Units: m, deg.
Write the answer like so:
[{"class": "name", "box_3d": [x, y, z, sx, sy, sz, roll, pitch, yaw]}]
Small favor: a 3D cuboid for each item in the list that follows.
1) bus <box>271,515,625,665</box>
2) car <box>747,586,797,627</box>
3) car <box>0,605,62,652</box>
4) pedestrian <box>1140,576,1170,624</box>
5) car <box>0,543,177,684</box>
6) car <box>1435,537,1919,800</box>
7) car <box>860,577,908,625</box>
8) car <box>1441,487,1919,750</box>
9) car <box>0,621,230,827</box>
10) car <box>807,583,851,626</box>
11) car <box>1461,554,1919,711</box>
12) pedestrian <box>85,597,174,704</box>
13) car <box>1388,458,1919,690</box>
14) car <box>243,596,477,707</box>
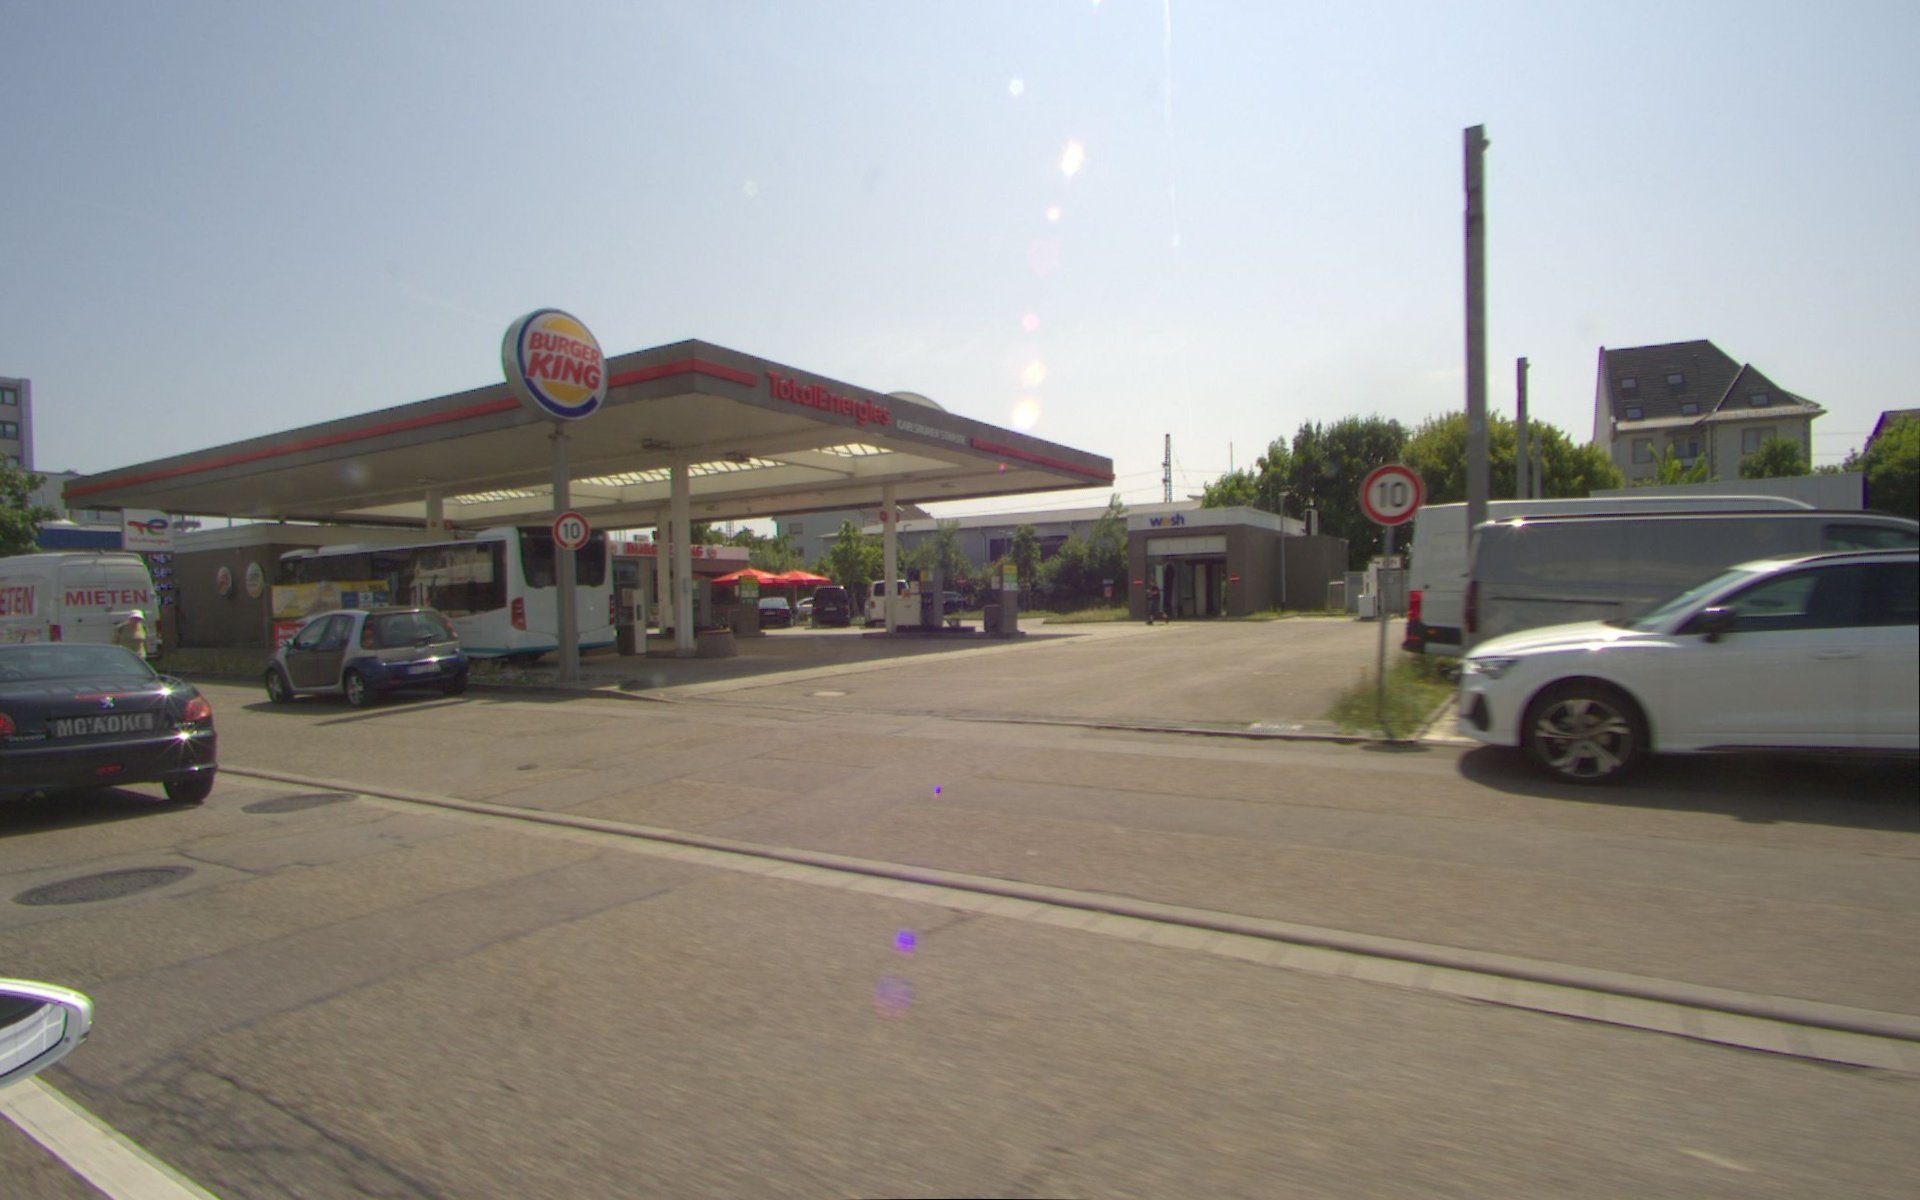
[{"class": "bus", "box_3d": [-13.454, -0.215, 25.499, 12.119, 3.120, 2.796, 0, 0, 36]}, {"class": "car", "box_3d": [-8.856, 0.356, 47.499, 1.961, 1.765, 4.001, -2, -2, -6]}, {"class": "car", "box_3d": [-33.628, 1.044, 35.352, 3.942, 1.530, 1.747, -3, -2, 31]}, {"class": "pedestrian", "box_3d": [7.151, 0.009, 36.718, 0.864, 1.674, 0.766, -3, -2, 29]}, {"class": "car", "box_3d": [-20.980, 0.285, 23.113, 7.204, 2.878, 2.128, -1, 2, 32]}, {"class": "car", "box_3d": [5.942, 0.407, 7.065, 4.546, 1.617, 1.663, -1, 1, 32]}, {"class": "car", "box_3d": [-3.296, 0.107, 44.209, 1.896, 1.909, 4.002, -2, -2, -2]}, {"class": "car", "box_3d": [7.279, 0.182, 9.100, 5.085, 2.049, 1.991, -1, -1, 31]}, {"class": "car", "box_3d": [-7.986, 0.913, 8.546, 3.608, 1.443, 1.597, -1, -1, 32]}, {"class": "car", "box_3d": [-5.931, 0.249, 45.707, 1.825, 1.766, 4.001, -2, -2, -6]}, {"class": "car", "box_3d": [8.330, 0.362, 11.448, 4.534, 1.533, 1.741, -1, -1, 32]}, {"class": "pedestrian", "box_3d": [-15.002, 0.891, 18.108, 0.693, 1.775, 0.812, 1, 10, 31]}, {"class": "car", "box_3d": [9.838, -0.288, 13.891, 6.917, 2.712, 2.251, -1, 1, 32]}, {"class": "car", "box_3d": [-9.740, 0.778, 16.209, 3.765, 1.540, 1.653, -1, 2, 32]}]
